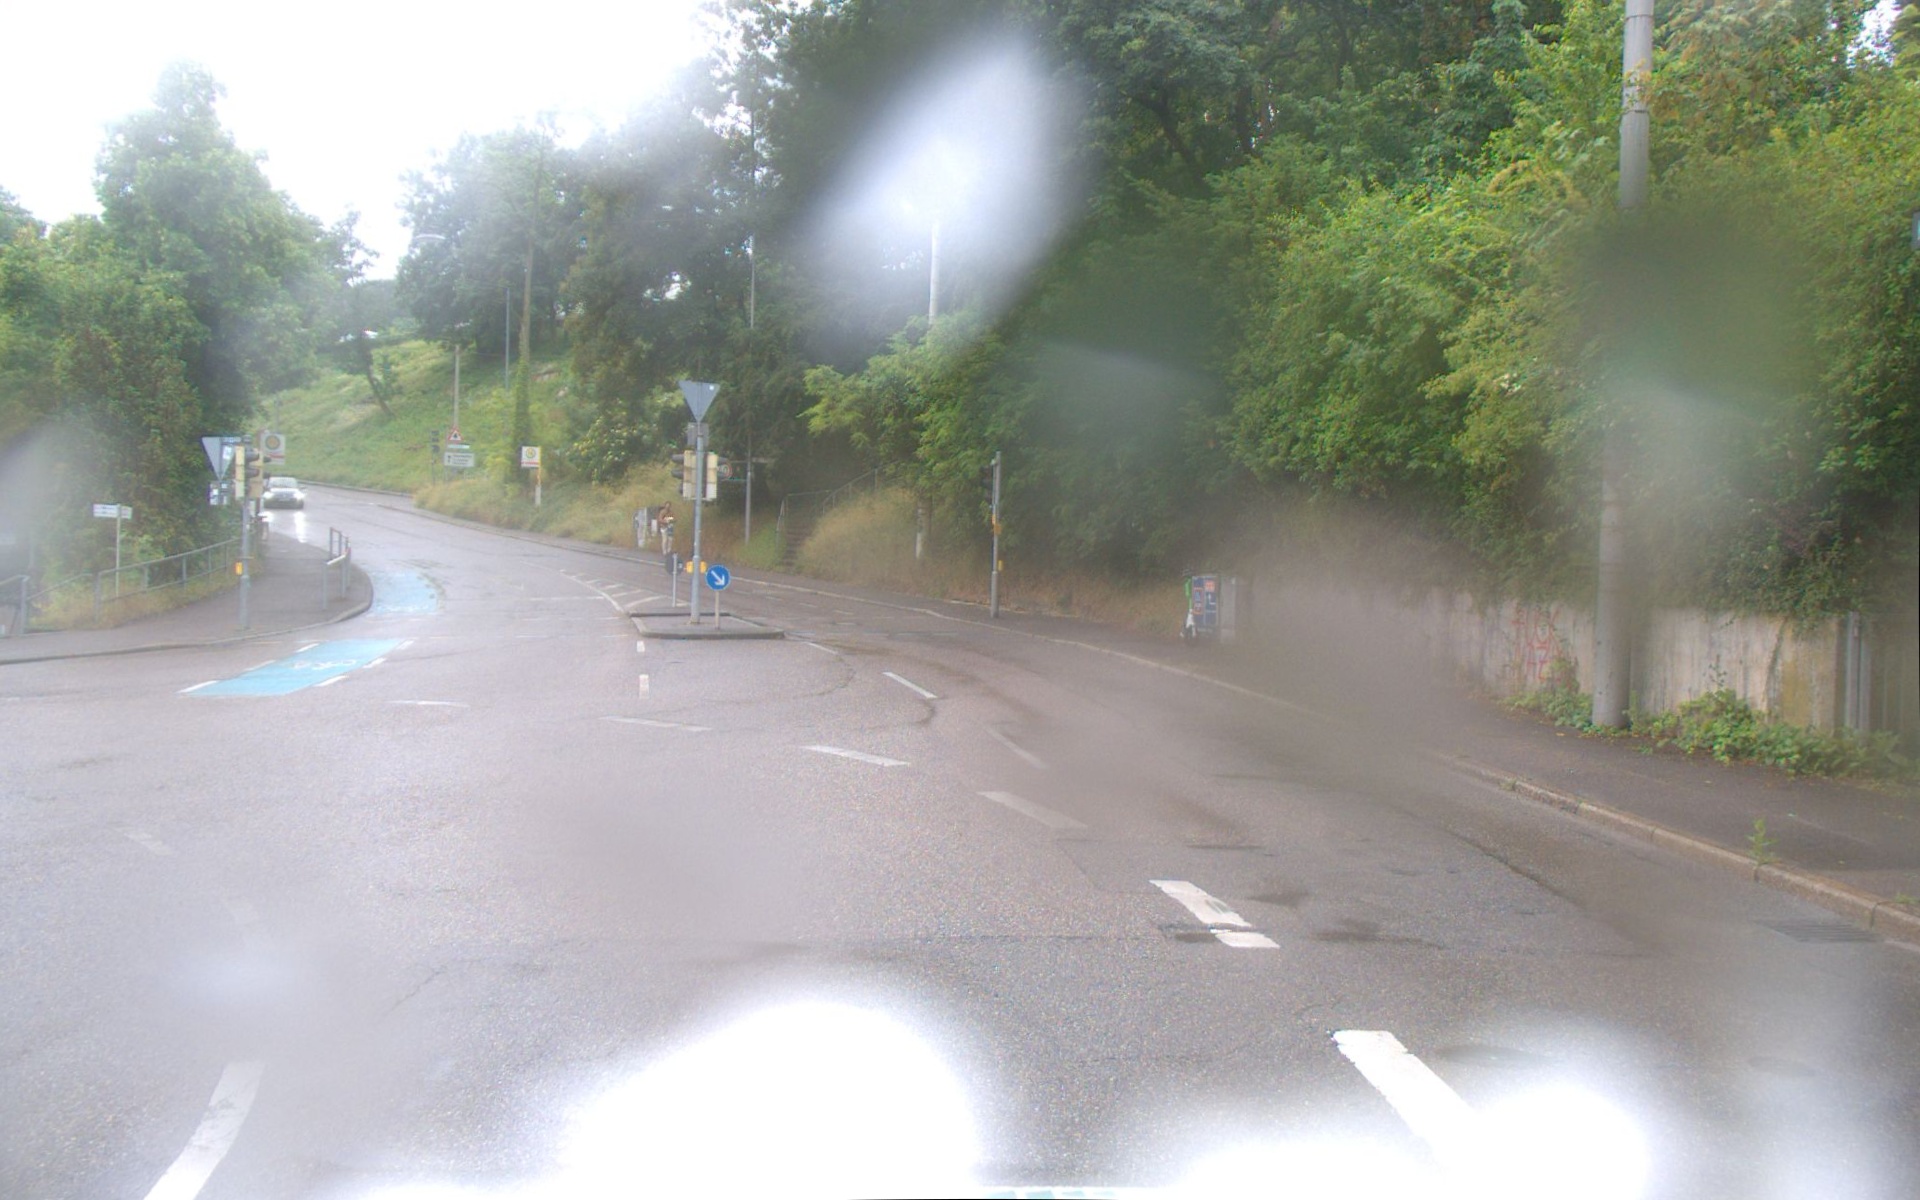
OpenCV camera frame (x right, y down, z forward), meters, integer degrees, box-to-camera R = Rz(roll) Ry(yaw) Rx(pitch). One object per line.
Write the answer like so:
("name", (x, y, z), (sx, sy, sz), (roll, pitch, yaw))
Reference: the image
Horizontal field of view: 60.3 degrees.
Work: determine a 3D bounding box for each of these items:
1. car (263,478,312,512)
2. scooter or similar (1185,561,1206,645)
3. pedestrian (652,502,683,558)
("car", (-32.712, -5.105, 80.431), (1.932, 1.538, 4.369), (1, 3, -26))
("scooter or similar", (3.778, 0.036, 26.529), (0.315, 1.302, 0.752), (0, 3, 7))
("pedestrian", (-9.471, -2.255, 53.603), (0.867, 1.767, 0.861), (1, -1, -18))
